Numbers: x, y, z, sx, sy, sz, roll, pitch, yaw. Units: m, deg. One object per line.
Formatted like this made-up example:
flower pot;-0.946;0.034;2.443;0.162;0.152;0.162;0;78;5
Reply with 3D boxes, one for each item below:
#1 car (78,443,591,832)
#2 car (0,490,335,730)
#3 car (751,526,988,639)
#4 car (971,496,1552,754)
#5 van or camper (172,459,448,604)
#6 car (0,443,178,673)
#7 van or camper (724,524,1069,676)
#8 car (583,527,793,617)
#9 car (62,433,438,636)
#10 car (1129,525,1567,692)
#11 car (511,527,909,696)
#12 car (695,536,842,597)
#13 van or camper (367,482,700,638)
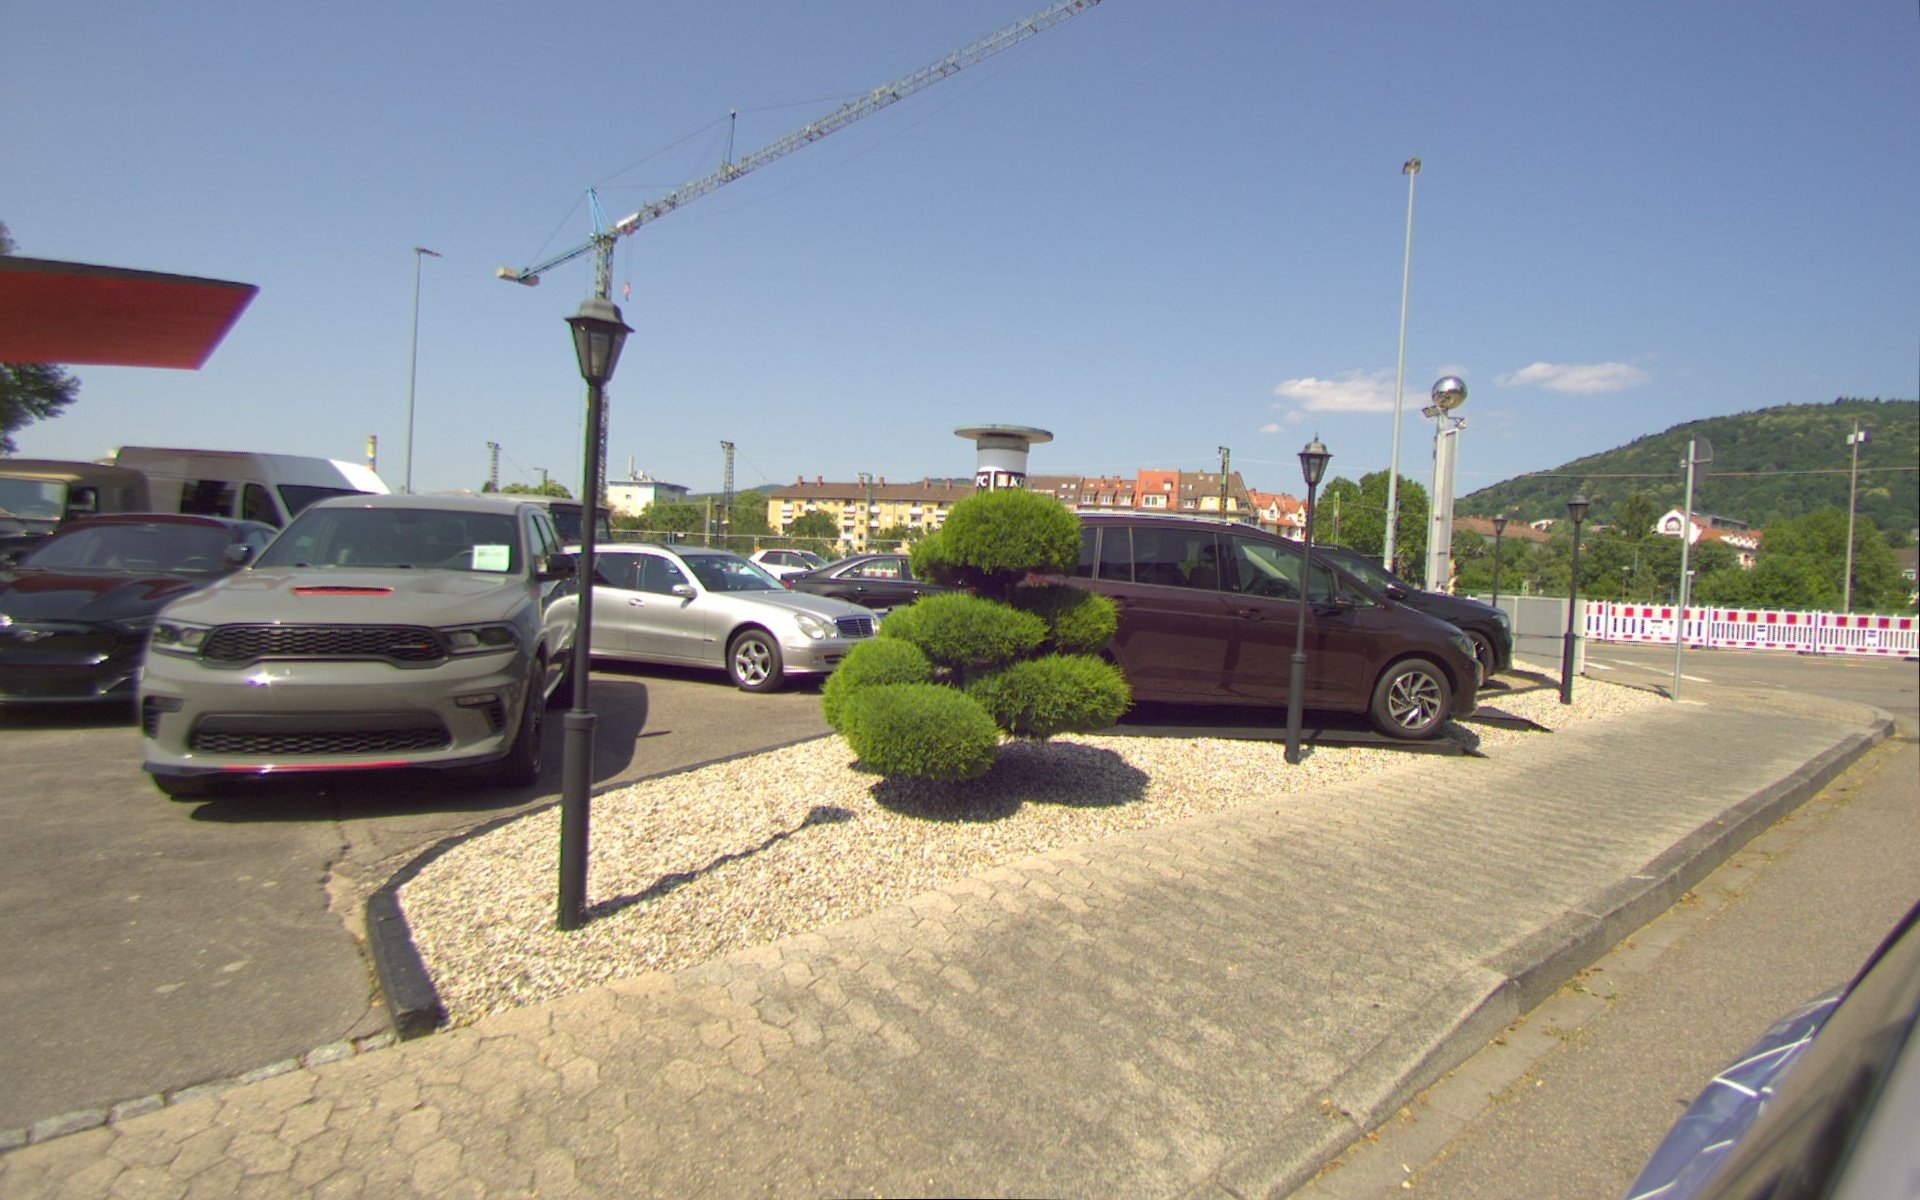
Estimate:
car;-3.840;0.087;7.302;1.884;1.784;5.010;2;2;-17
car;-7.299;-0.063;9.152;1.884;1.655;4.589;2;3;-20
car;-1.520;-0.334;17.942;3.925;1.727;1.861;2;2;1
car;2.320;0.168;8.519;4.204;1.804;1.856;2;2;-6
van or camper;-12.349;-1.322;19.211;4.880;2.466;1.985;3;2;23
car;-10.699;-0.586;11.389;1.885;2.176;4.589;3;3;-24
van or camper;-0.763;-0.061;13.567;4.227;1.704;1.994;3;2;12
car;-5.280;-0.559;19.989;3.687;1.569;1.648;2;2;-1
car;-11.204;-1.018;15.882;5.959;2.712;2.239;3;2;26
car;4.757;0.069;12.945;4.724;1.801;2.019;2;2;-2
car;-2.871;0.024;11.562;4.166;1.553;1.908;3;2;26
car;-5.862;-1.034;31.086;3.945;1.660;1.990;3;2;16
van or camper;-7.229;-0.722;17.028;5.452;2.289;2.093;3;2;26
